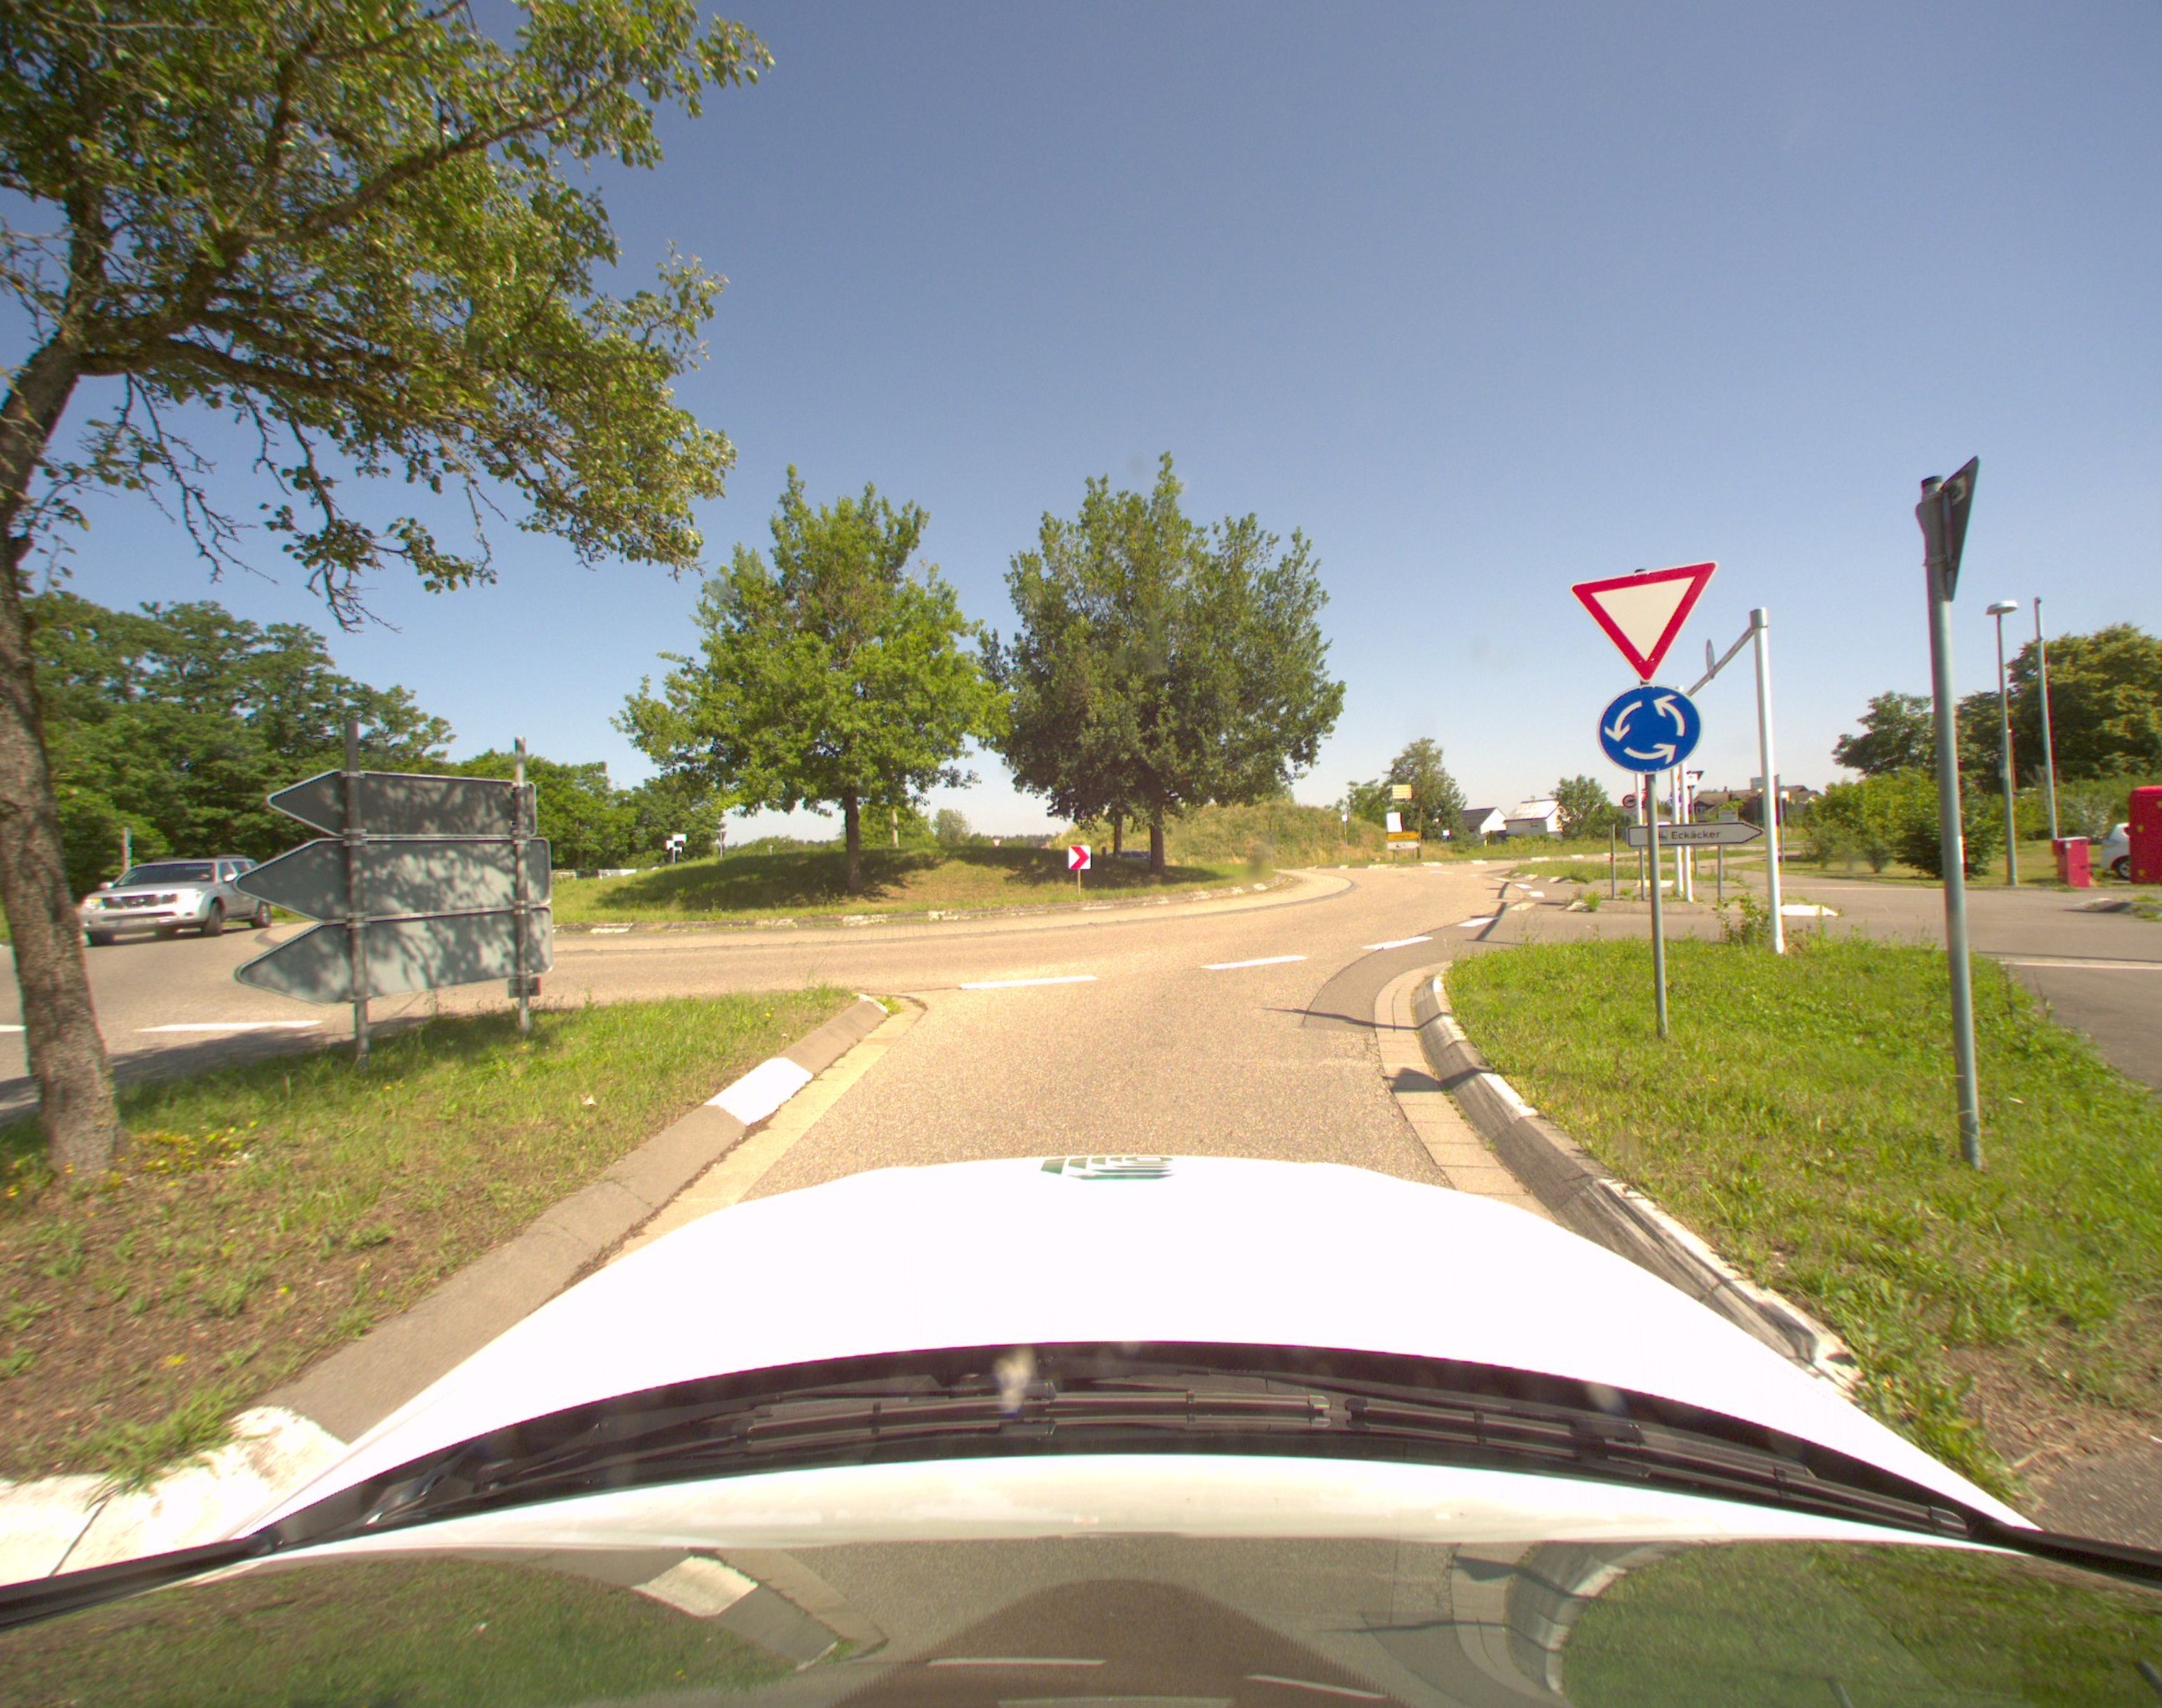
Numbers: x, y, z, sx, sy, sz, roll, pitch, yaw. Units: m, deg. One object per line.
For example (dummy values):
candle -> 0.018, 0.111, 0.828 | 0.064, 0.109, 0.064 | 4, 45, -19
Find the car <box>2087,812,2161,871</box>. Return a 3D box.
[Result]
car -> 27.727, -0.333, 19.883 | 1.730, 1.446, 3.737 | -3, 1, -28

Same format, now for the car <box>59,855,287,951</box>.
car -> -20.346, 1.011, 18.560 | 1.904, 1.816, 4.555 | -3, 0, -27

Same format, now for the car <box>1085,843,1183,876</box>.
car -> 2.804, 0.293, 43.095 | 4.713, 1.592, 2.013 | -2, 0, 29
